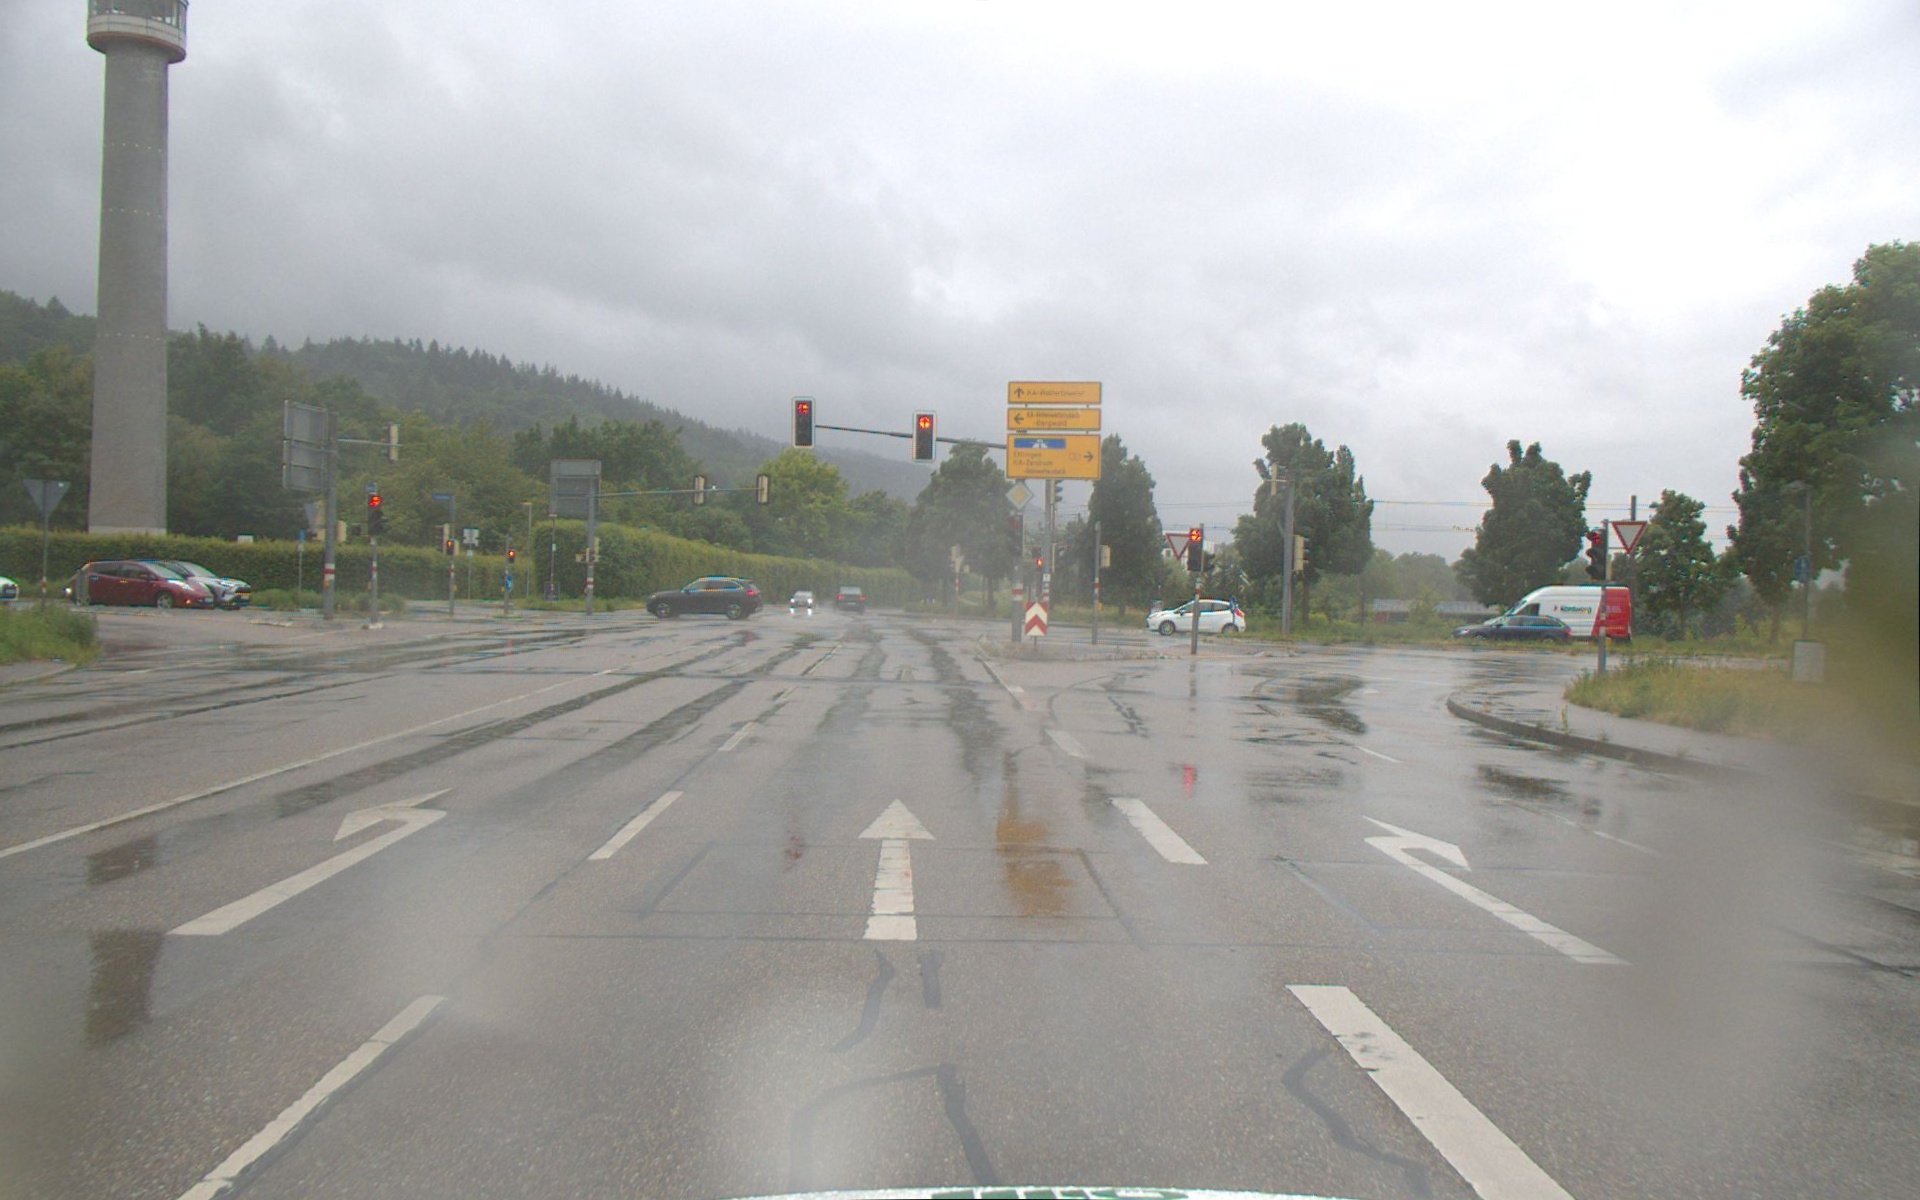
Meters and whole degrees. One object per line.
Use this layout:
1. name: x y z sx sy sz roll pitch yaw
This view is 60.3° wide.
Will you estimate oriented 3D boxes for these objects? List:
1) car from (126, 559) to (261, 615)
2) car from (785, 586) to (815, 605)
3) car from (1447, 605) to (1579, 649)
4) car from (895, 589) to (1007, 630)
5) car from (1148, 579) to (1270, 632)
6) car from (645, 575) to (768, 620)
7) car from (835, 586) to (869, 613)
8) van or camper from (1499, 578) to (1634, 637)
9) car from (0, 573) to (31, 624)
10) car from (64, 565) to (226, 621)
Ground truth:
1. car: -25.840 -0.437 55.815 3.721 1.741 1.747 2 1 6
2. car: -13.314 -0.382 137.756 1.840 1.601 4.646 0 0 2
3. car: 21.568 1.036 64.647 4.572 1.580 1.823 1 1 3
4. car: -0.349 0.383 68.925 4.573 1.580 1.823 1 1 1
5. car: 9.755 0.212 65.130 4.571 1.949 1.916 1 1 4
6. car: -10.110 -0.122 66.080 4.573 1.667 1.823 1 1 1
7. car: -6.505 -0.048 100.070 1.841 1.601 4.644 0 0 -1
8. van or camper: 24.702 0.274 67.498 4.745 2.207 2.162 2 1 8
9. car: -32.354 -0.099 52.507 4.779 1.580 1.800 1 1 5
10. car: -25.672 -0.233 52.163 4.283 1.607 1.734 2 1 5
